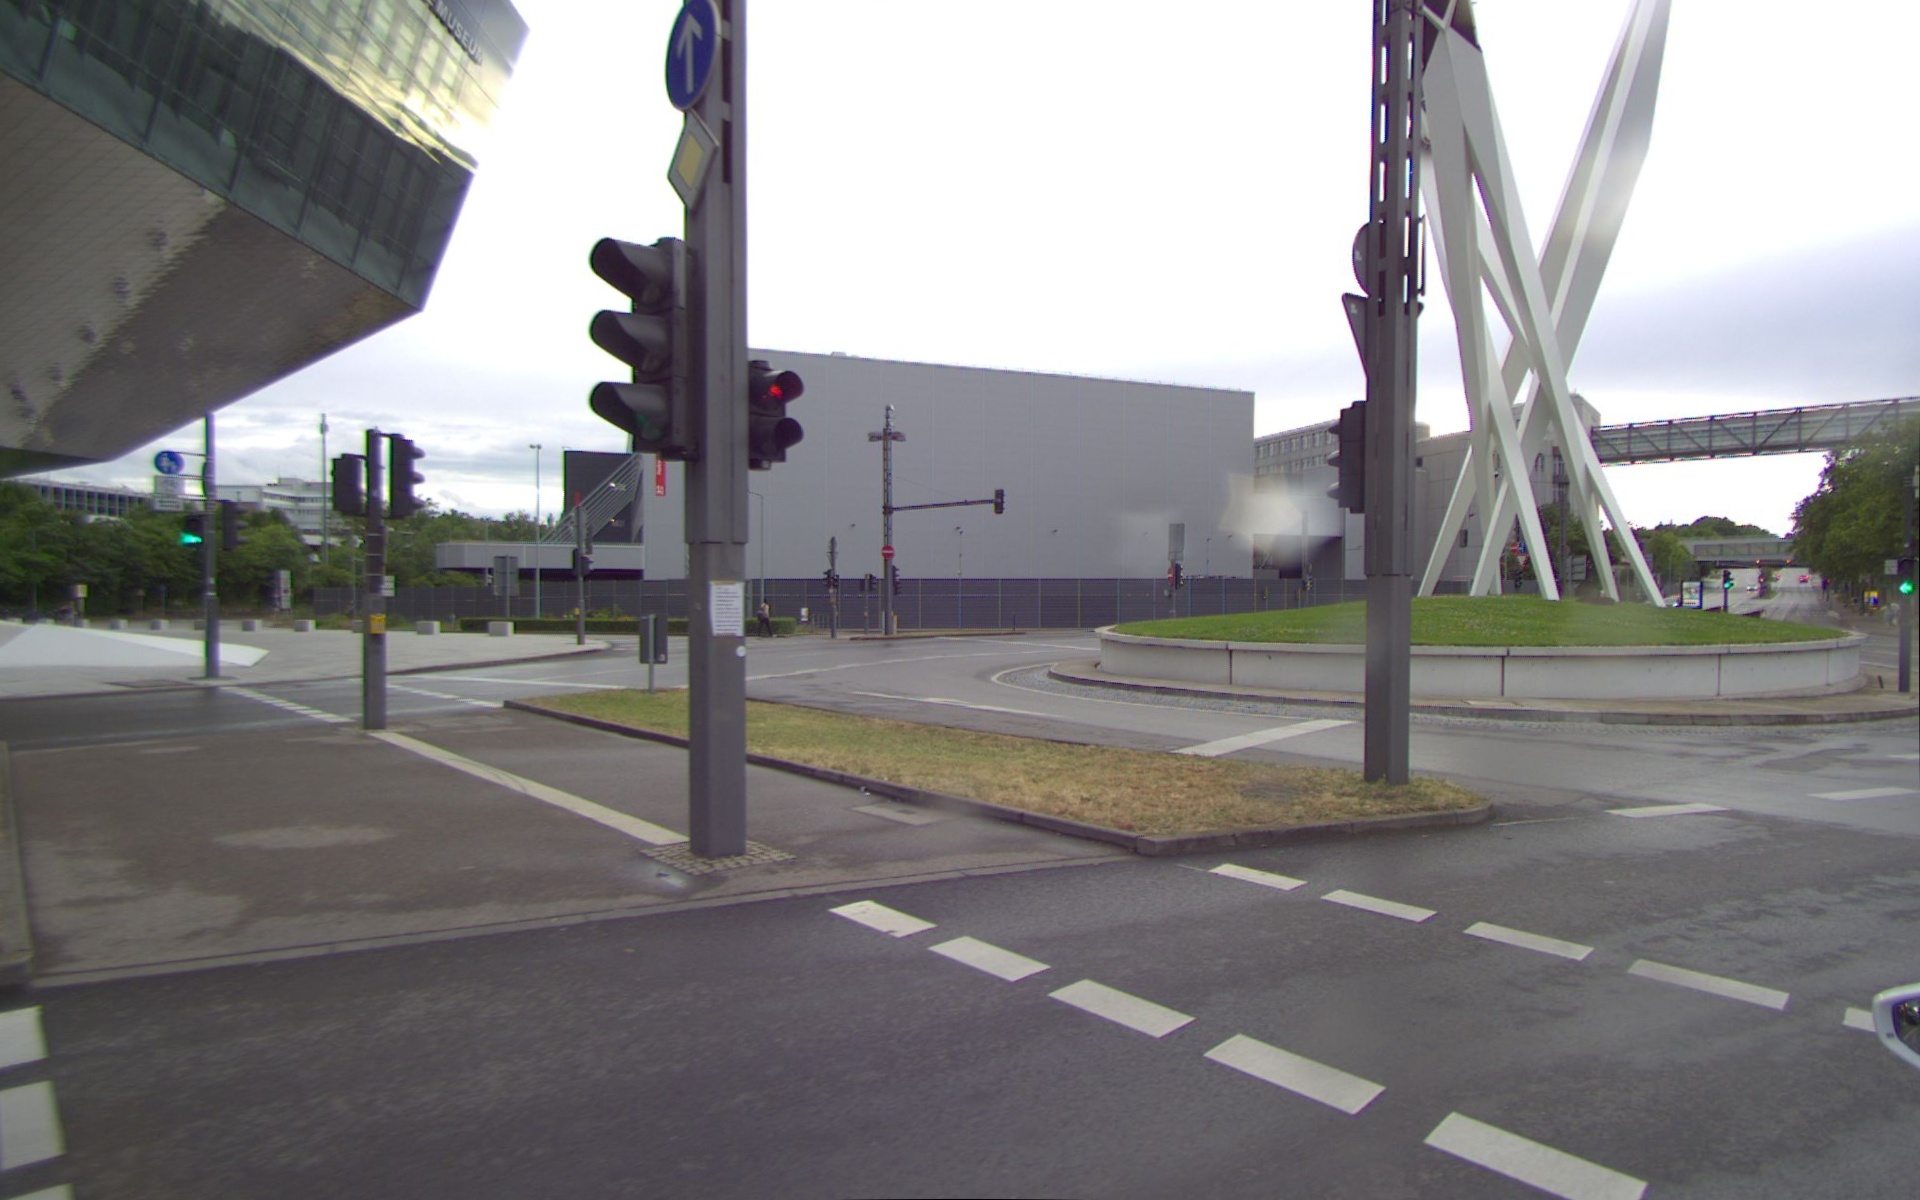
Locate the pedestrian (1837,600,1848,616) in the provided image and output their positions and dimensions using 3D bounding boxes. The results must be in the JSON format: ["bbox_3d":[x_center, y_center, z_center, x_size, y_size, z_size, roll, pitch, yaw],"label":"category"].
[{"bbox_3d":[108.313,0.990,123.279,0.685,2.040,0.760,1,0,-32],"label":"pedestrian"}]

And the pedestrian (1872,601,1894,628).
[{"bbox_3d":[52.474,0.825,57.095,0.835,1.541,0.823,-1,1,-43],"label":"pedestrian"}]

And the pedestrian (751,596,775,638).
[{"bbox_3d":[-8.750,0.739,44.643,0.637,1.827,0.852,1,1,28],"label":"pedestrian"}]

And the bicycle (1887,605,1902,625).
[{"bbox_3d":[56.862,0.913,61.129,0.337,1.134,1.967,0,1,34],"label":"bicycle"}]

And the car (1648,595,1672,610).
[{"bbox_3d":[73.859,0.241,105.995,1.761,1.459,4.374,1,1,40],"label":"car"}]

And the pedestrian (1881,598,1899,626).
[{"bbox_3d":[53.784,0.701,58.081,0.702,1.613,0.835,1,1,45],"label":"pedestrian"}]

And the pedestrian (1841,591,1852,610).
[{"bbox_3d":[84.654,0.044,95.928,0.703,1.763,0.756,3,0,40],"label":"pedestrian"}]
